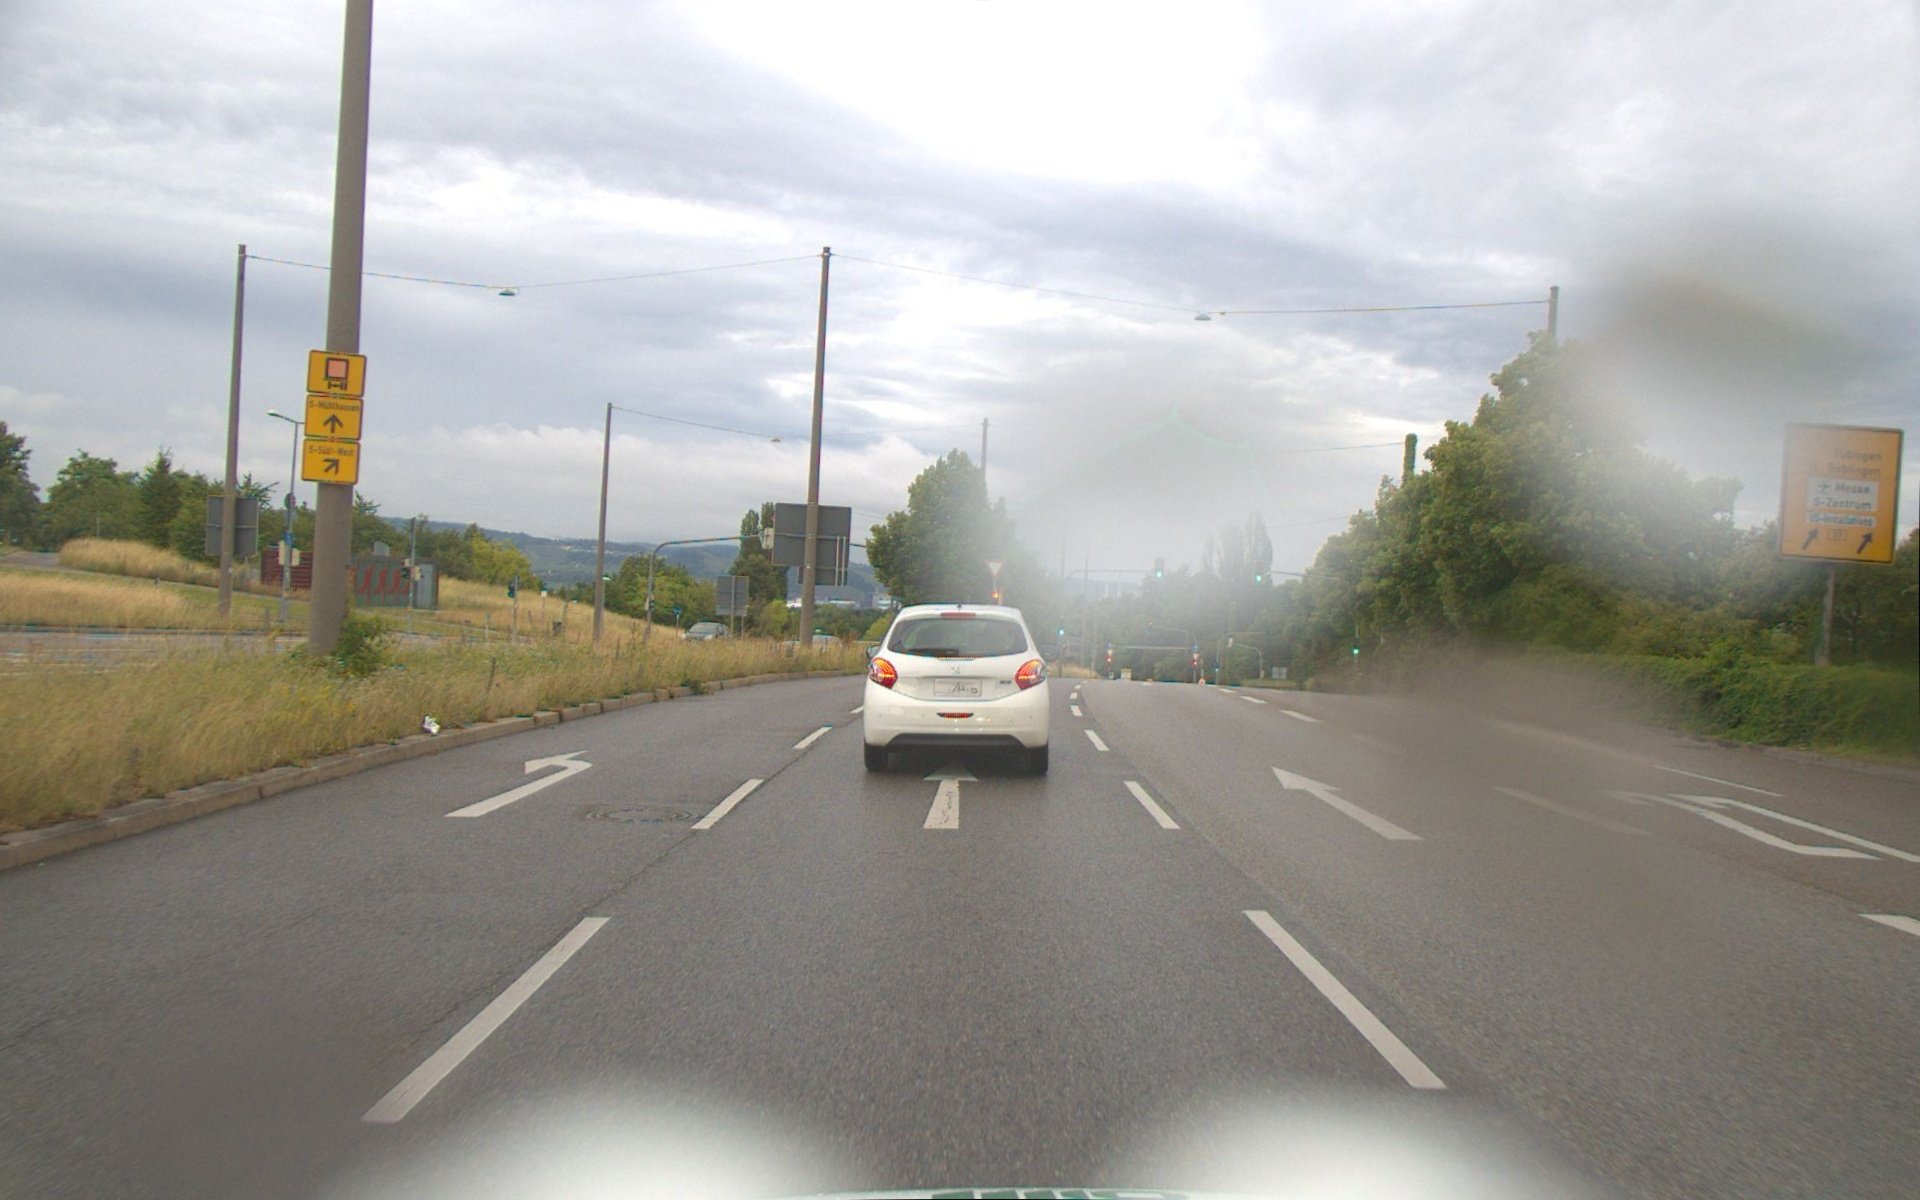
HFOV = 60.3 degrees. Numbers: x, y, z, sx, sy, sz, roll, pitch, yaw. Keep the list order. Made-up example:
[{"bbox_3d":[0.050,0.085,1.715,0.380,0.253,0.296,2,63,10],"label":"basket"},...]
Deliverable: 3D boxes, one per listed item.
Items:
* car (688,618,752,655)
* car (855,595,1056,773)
[{"bbox_3d":[-10.939,1.686,75.691,1.730,1.408,4.002,3,-3,9],"label":"car"},{"bbox_3d":[0.009,0.722,15.827,1.673,1.465,3.691,1,0,1],"label":"car"}]
